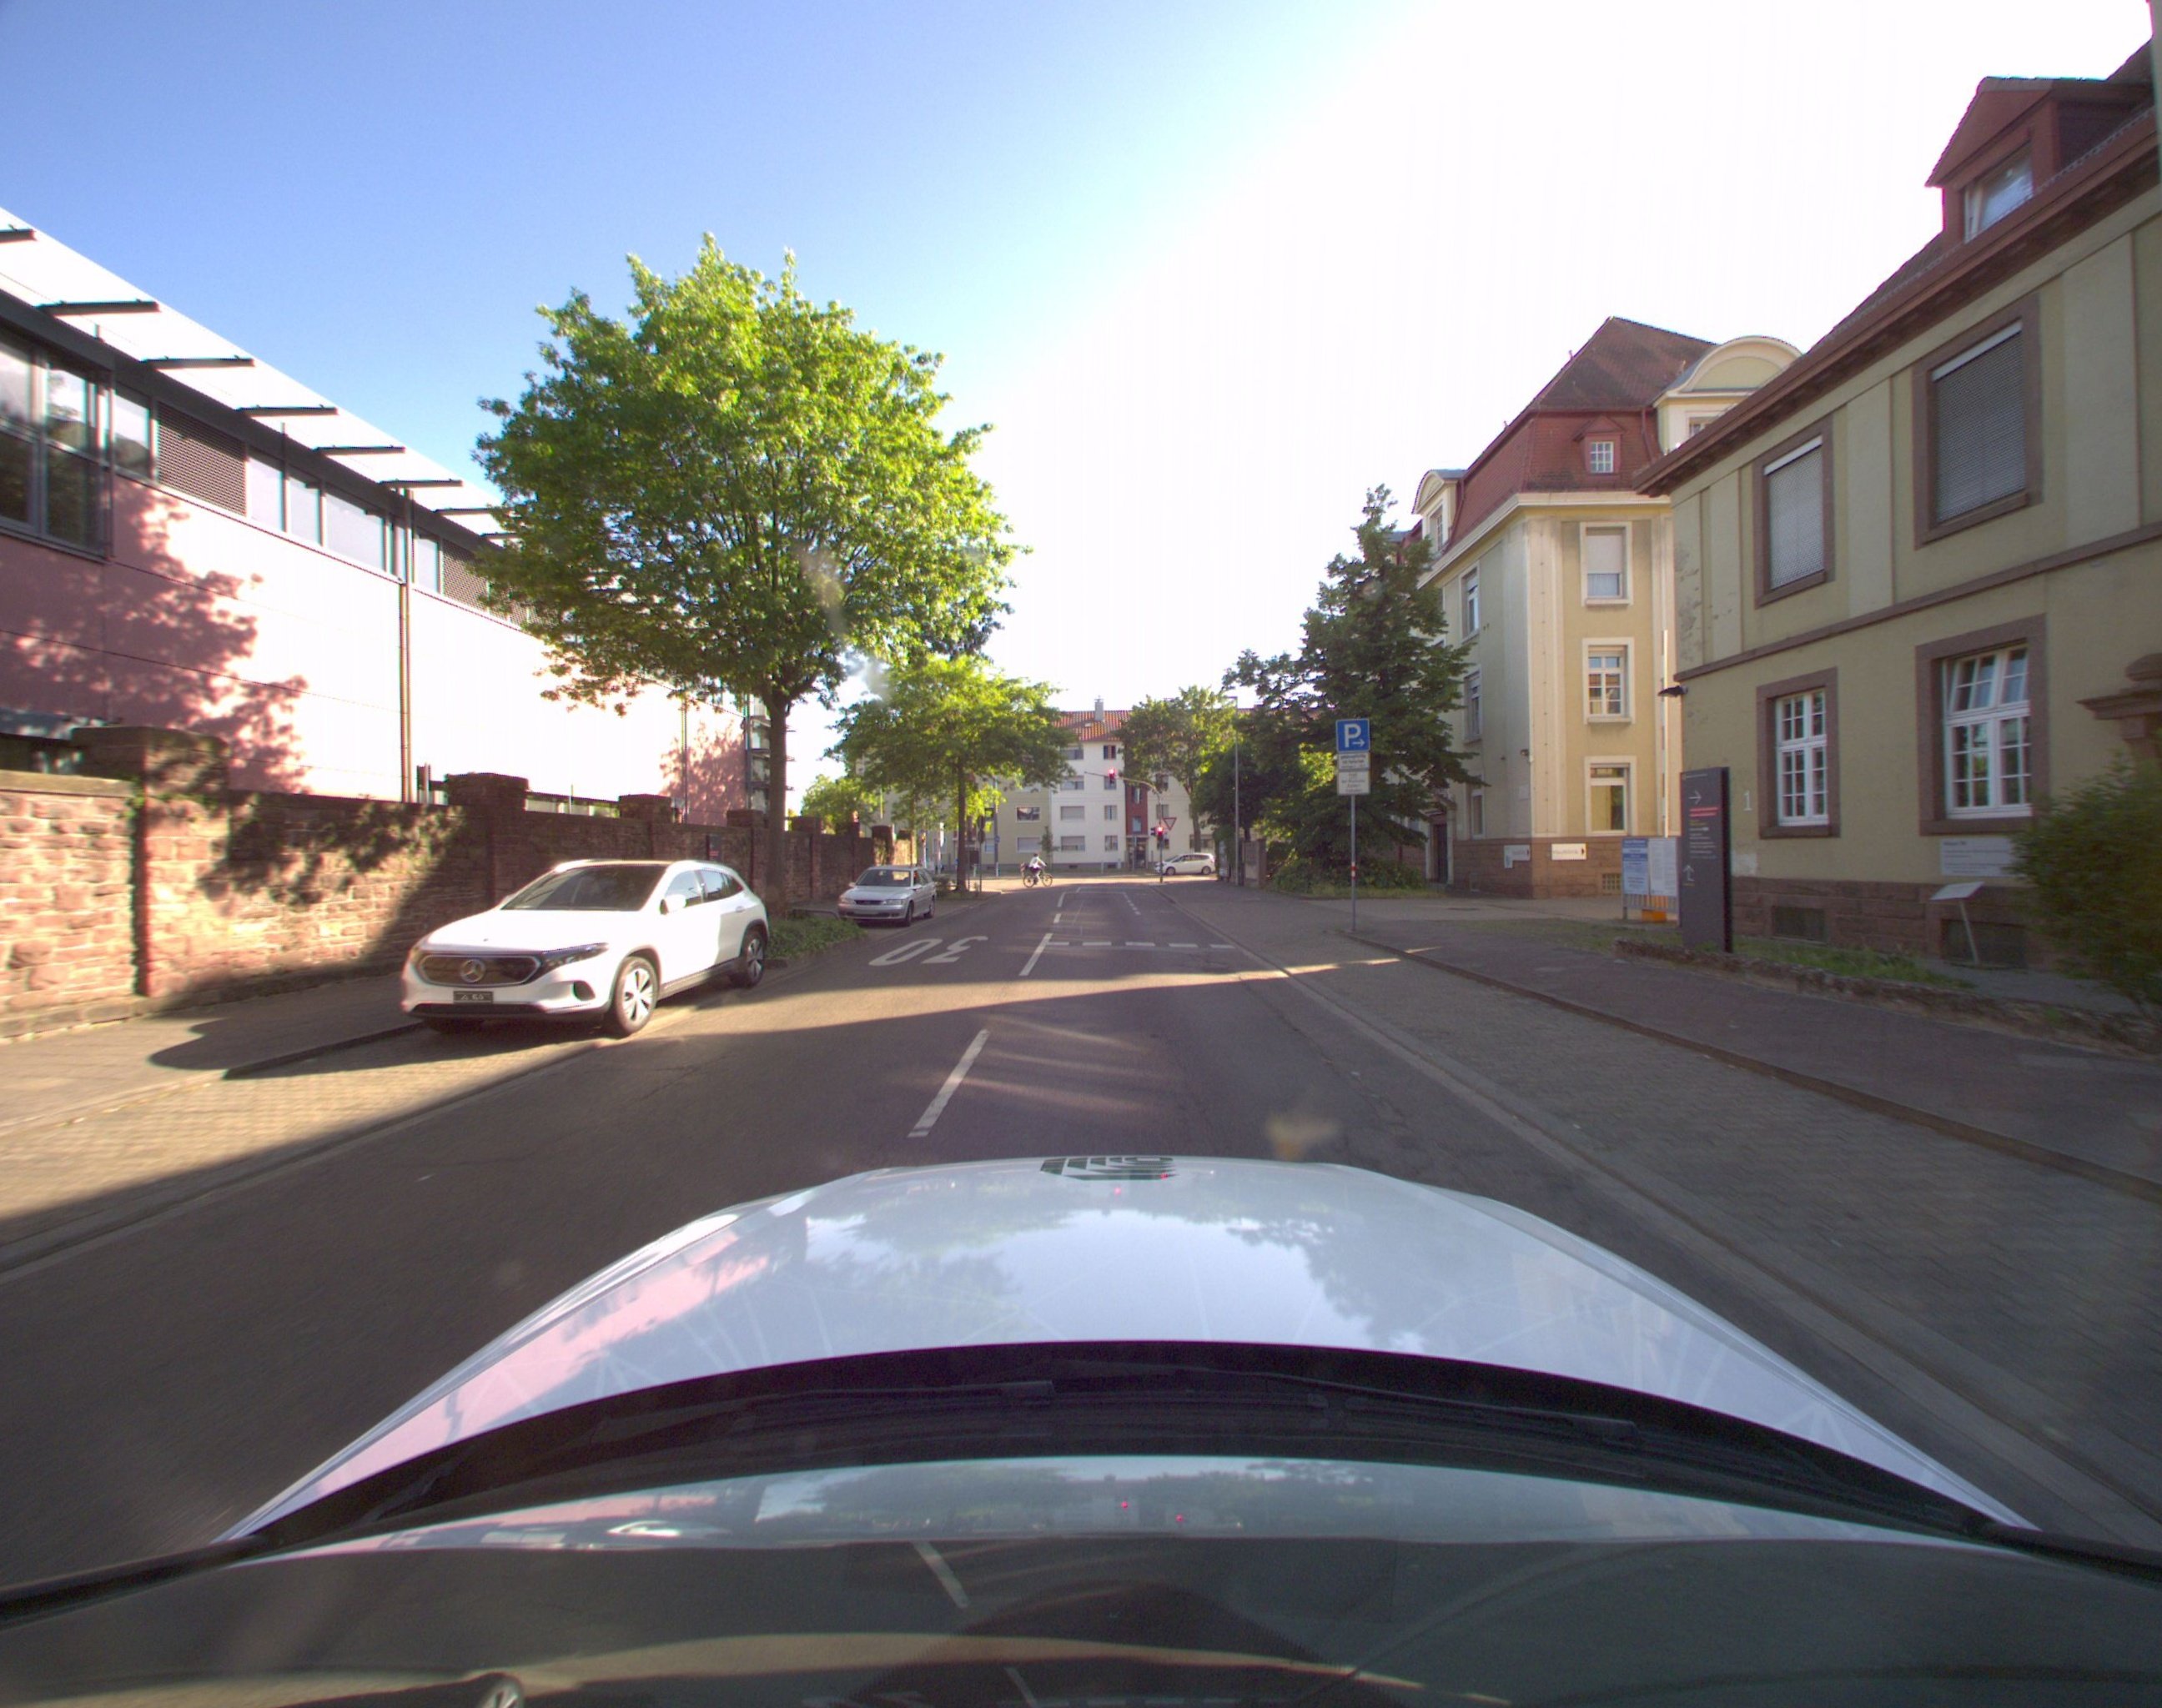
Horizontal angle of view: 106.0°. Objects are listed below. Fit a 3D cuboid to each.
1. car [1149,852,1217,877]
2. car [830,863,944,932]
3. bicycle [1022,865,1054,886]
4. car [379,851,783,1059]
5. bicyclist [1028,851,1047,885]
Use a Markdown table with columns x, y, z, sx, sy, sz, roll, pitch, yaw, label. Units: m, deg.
| x | y | z | sx | sy | sz | roll | pitch | yaw | label |
| --- | --- | --- | --- | --- | --- | --- | --- | --- | --- |
| 7.639 | 0.746 | 61.210 | 4.664 | 1.739 | 1.992 | -1 | 0 | -11 | car |
| -4.747 | 1.004 | 20.620 | 1.720 | 1.475 | 4.479 | 1 | 0 | 1 | car |
| -2.221 | 1.107 | 42.051 | 1.694 | 1.080 | 0.348 | -1 | 0 | -30 | bicycle |
| -4.939 | 0.833 | 8.923 | 1.714 | 1.683 | 4.350 | -1 | 0 | 0 | car |
| -2.235 | 0.717 | 42.024 | 0.791 | 1.757 | 0.607 | 0 | 0 | -29 | bicyclist |
